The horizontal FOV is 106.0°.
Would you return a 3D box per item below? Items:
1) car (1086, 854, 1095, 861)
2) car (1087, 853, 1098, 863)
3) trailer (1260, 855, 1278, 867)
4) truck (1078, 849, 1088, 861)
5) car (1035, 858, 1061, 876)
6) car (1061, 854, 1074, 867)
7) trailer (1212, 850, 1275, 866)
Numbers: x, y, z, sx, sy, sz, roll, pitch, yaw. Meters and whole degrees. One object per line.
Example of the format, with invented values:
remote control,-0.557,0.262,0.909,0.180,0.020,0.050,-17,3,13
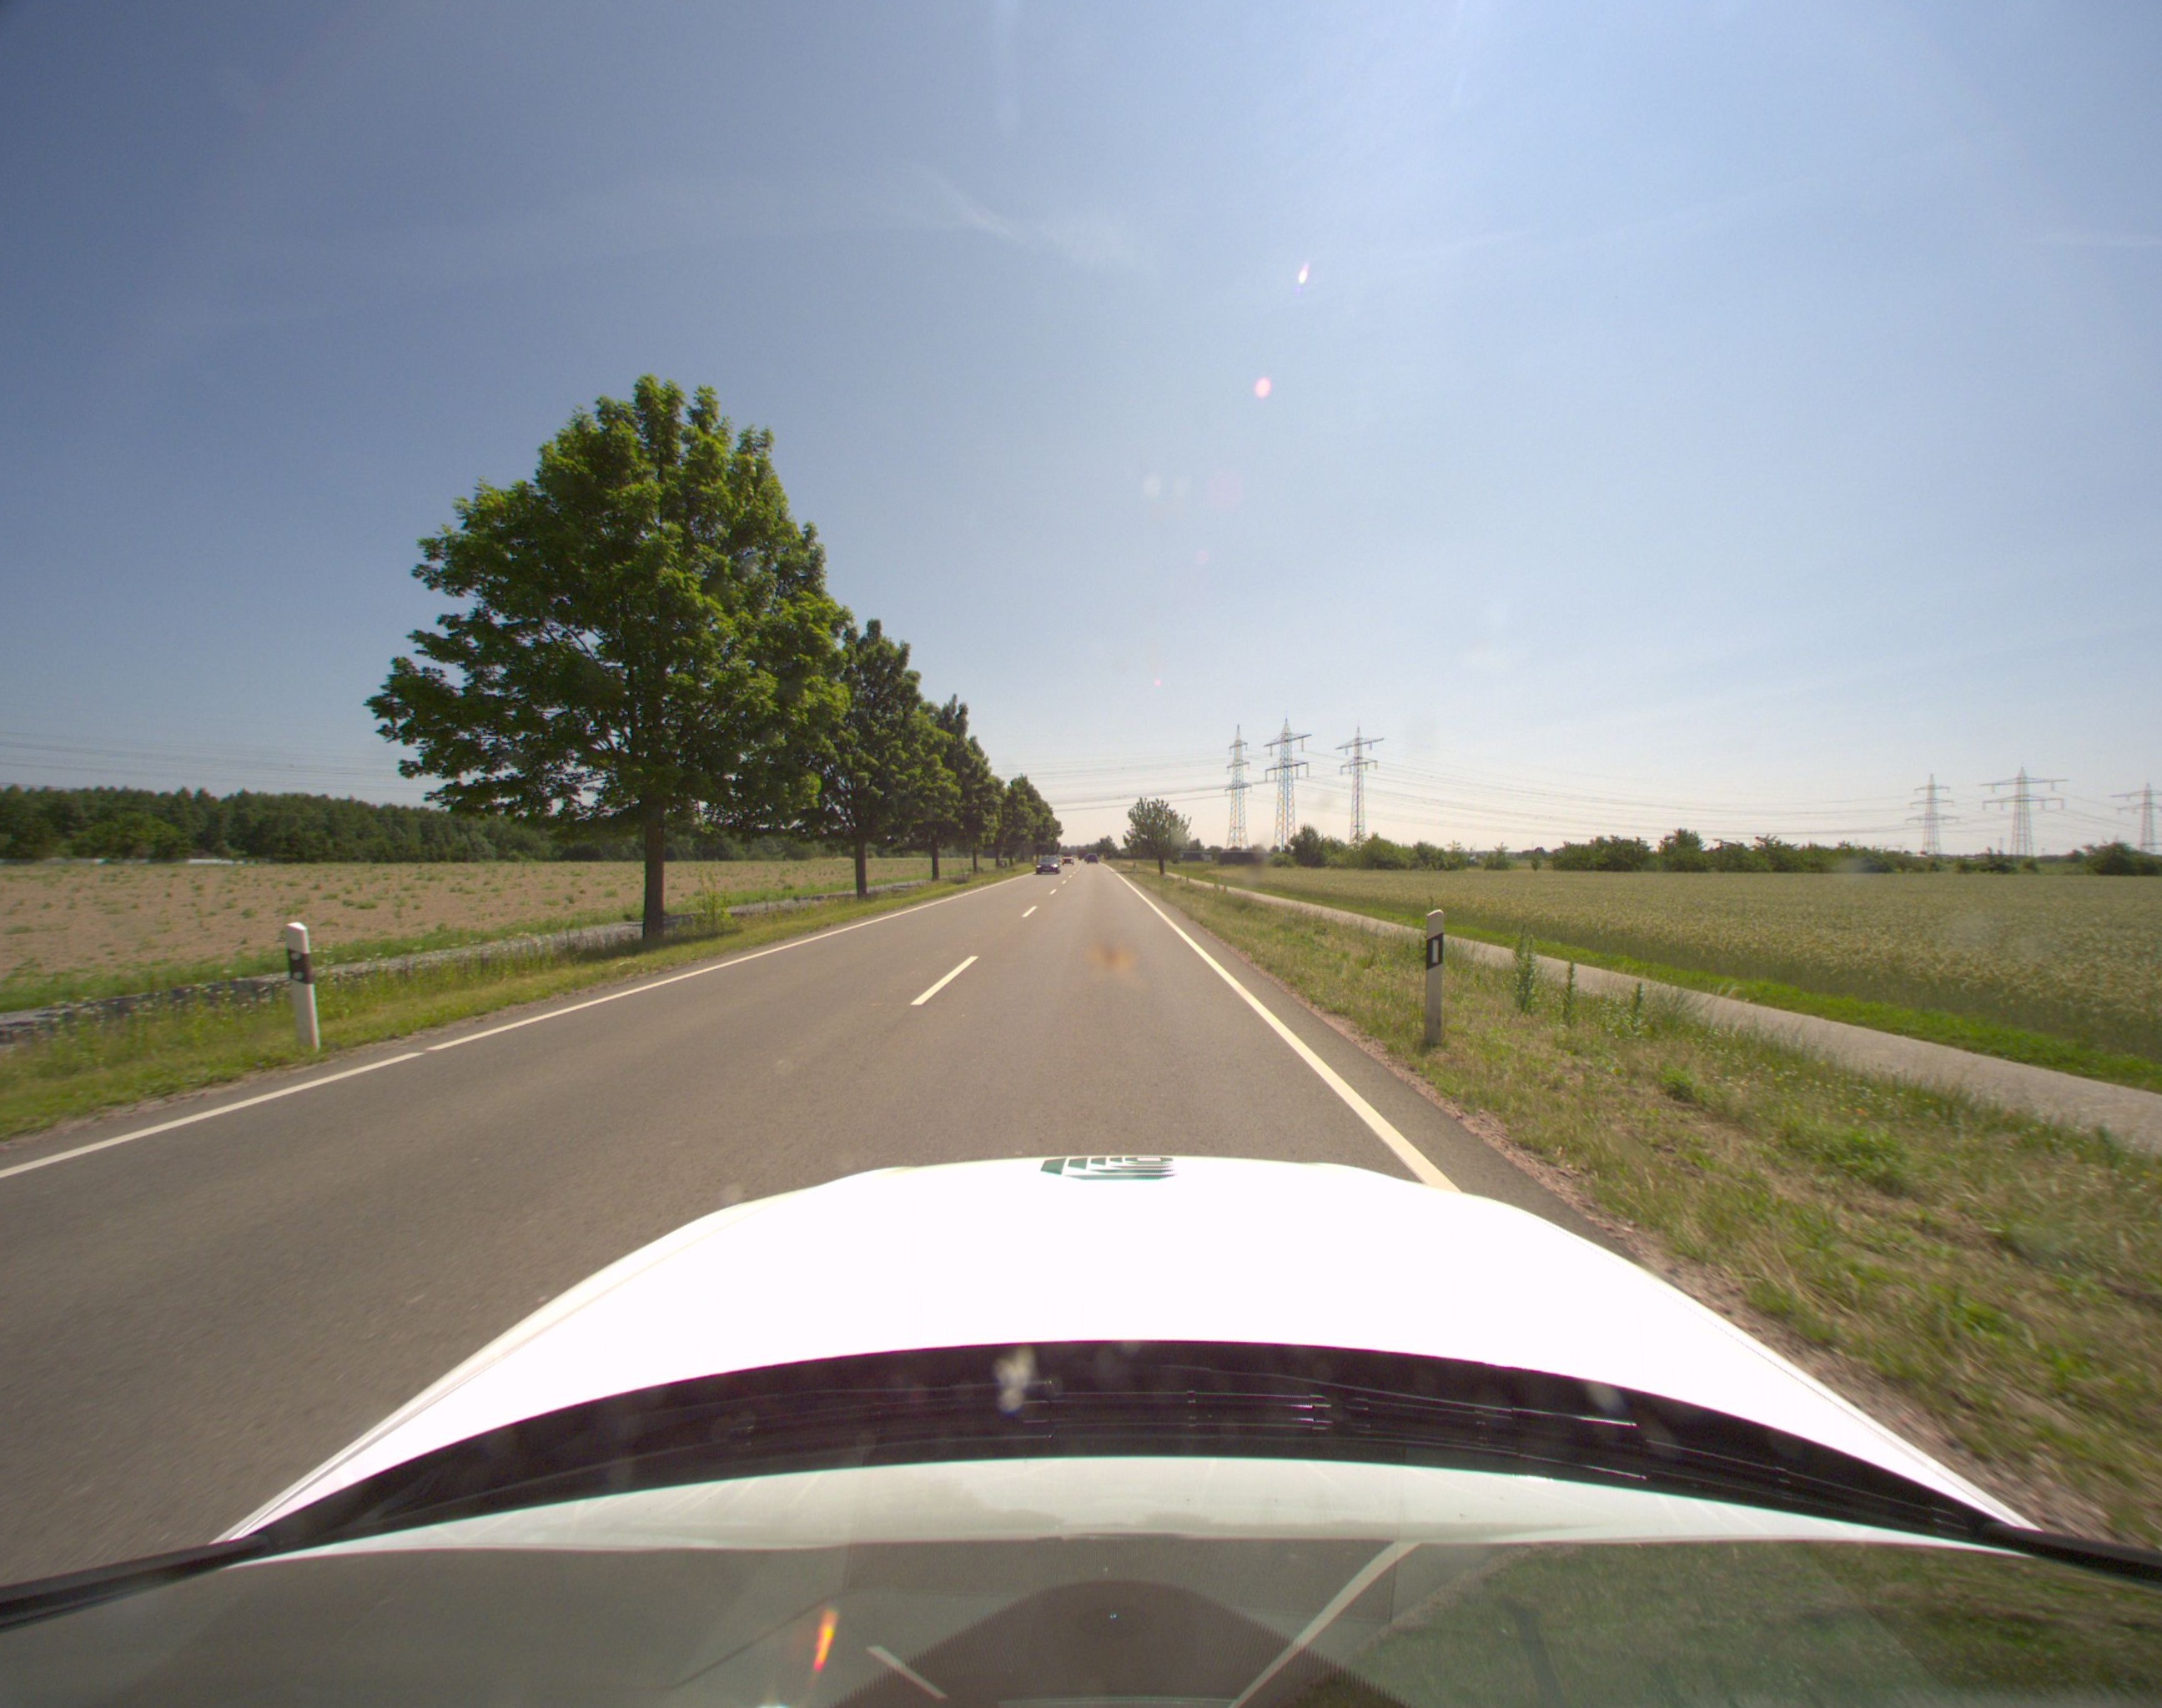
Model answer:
car,2.028,0.746,174.810,1.846,1.523,3.996,-1,0,-2
car,1.951,0.724,136.648,1.709,1.694,3.987,-1,0,0
trailer,41.110,1.540,178.166,3.398,2.462,2.036,0,0,-2
truck,0.540,0.336,228.115,2.365,3.140,8.737,0,0,-3
car,-2.703,1.025,66.972,1.815,1.420,4.590,-1,0,1
car,-1.983,0.987,120.838,1.675,1.849,4.000,0,0,1
trailer,36.016,0.873,180.765,13.474,3.475,3.274,0,0,-2
